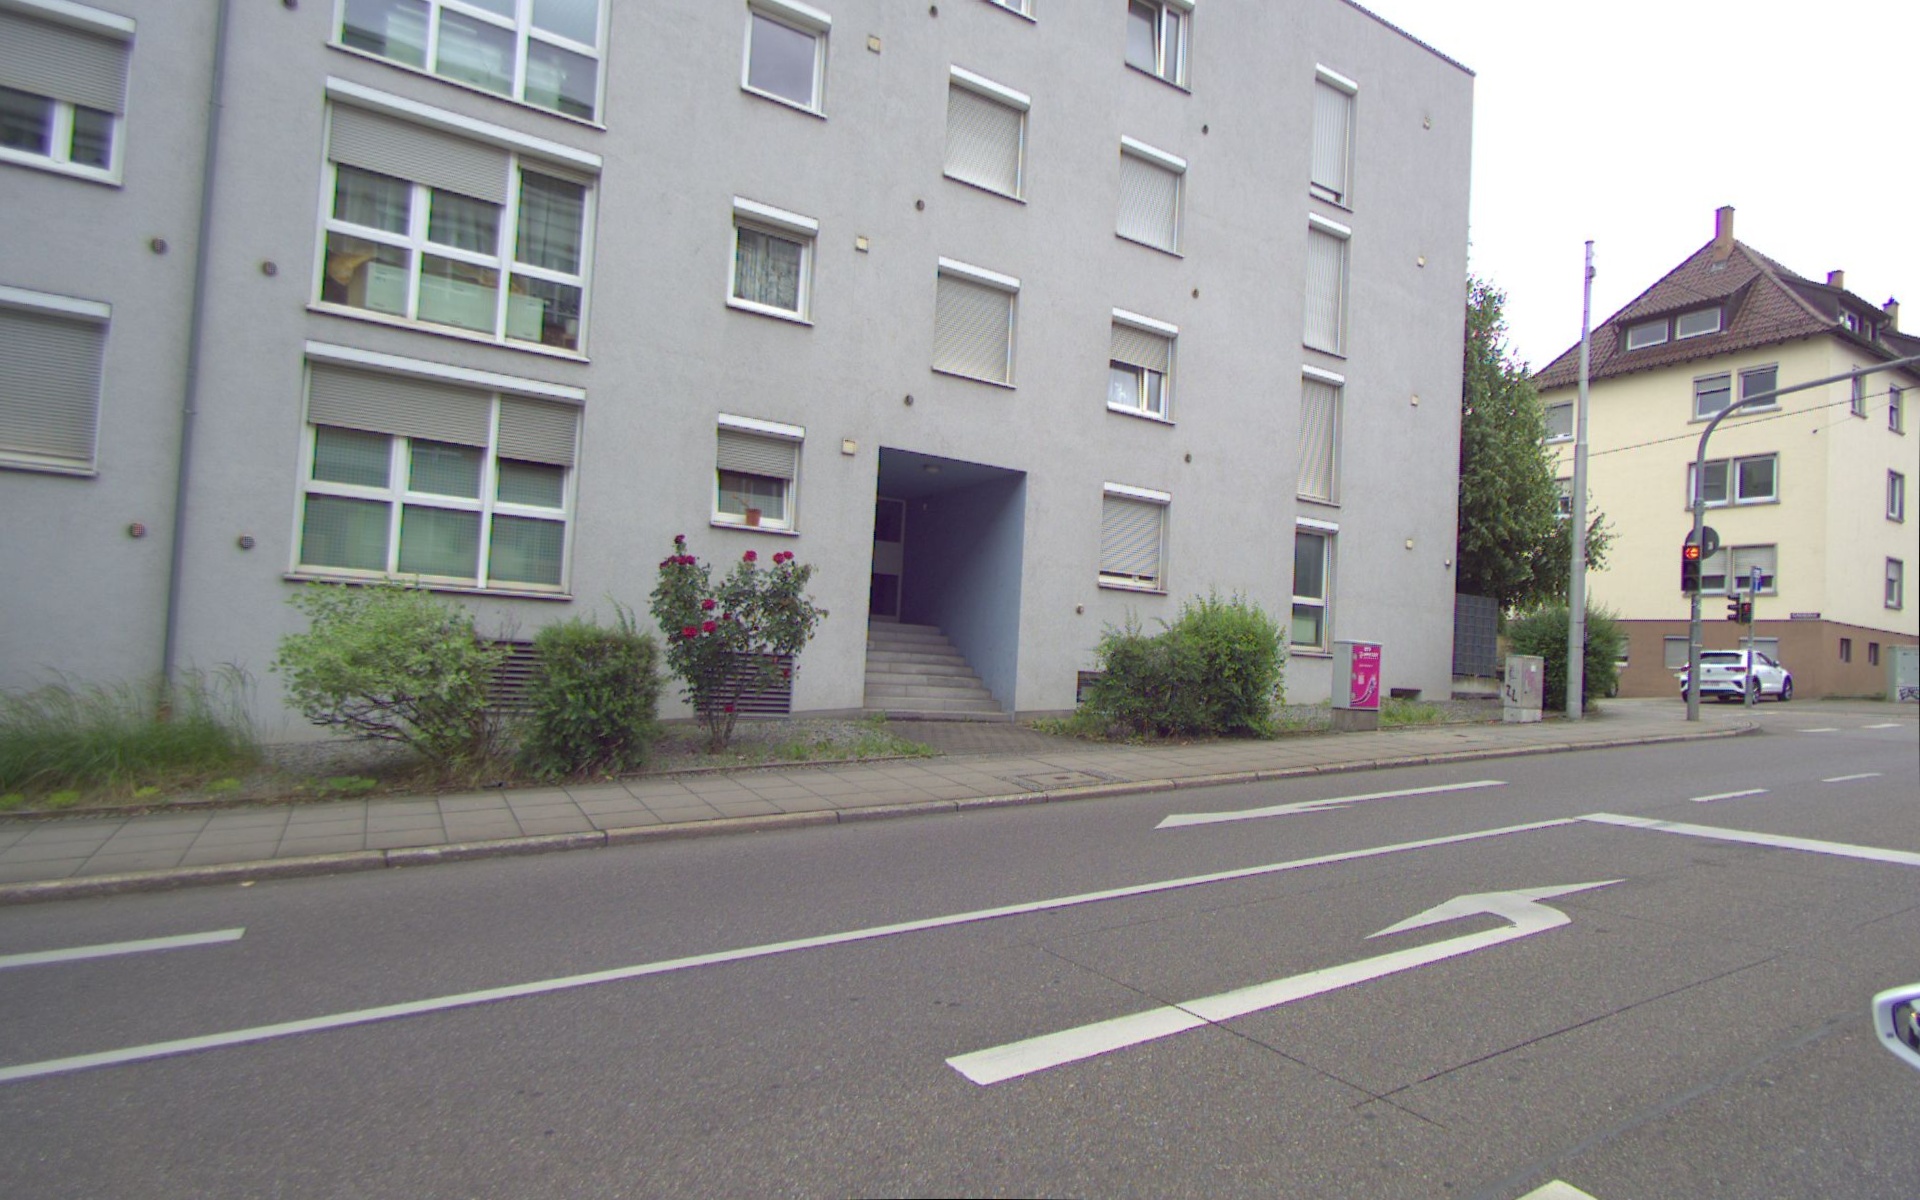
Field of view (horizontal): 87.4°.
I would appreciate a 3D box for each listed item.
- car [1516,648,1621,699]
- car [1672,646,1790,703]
[{"bbox_3d":[20.932,2.481,34.533,3.727,1.629,1.681,1,-4,-34],"label":"car"},{"bbox_3d":[23.045,2.195,29.999,3.727,1.575,1.681,1,-4,-34],"label":"car"}]
